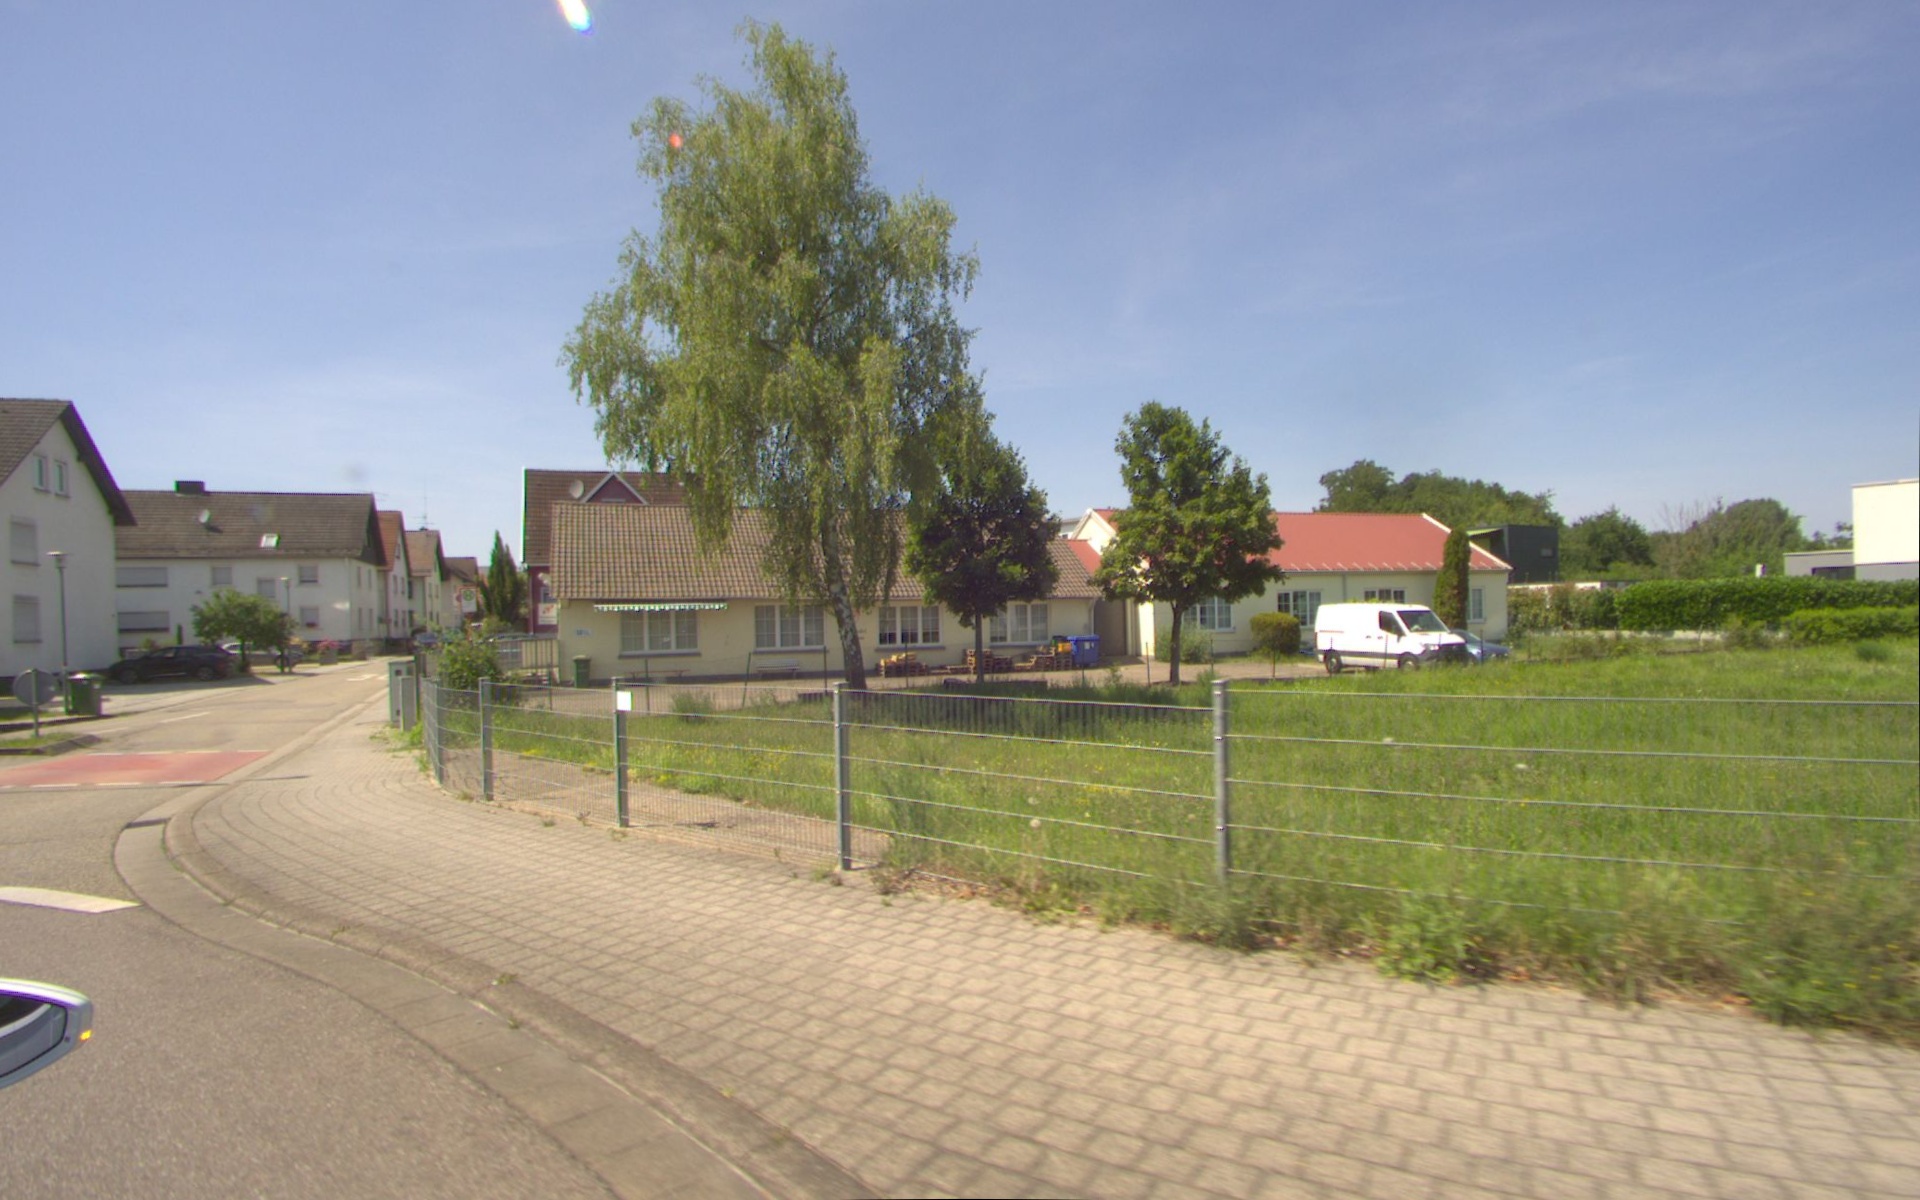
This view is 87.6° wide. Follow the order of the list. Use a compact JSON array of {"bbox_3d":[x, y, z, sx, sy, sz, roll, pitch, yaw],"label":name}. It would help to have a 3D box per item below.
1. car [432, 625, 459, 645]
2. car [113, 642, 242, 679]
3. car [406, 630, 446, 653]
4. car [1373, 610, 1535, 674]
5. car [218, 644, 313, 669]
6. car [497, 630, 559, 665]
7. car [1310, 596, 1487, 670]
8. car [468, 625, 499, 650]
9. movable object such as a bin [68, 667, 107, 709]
[{"bbox_3d":[-43.776,2.959,85.252,1.900,1.624,3.985,-1,-2,-26],"label":"car"},{"bbox_3d":[-32.824,2.521,42.124,3.935,1.401,1.655,-1,-1,-24],"label":"car"},{"bbox_3d":[-38.236,2.927,71.786,1.966,1.573,3.991,-1,-1,-20],"label":"car"},{"bbox_3d":[17.229,1.508,35.226,2.036,2.039,4.920,-1,-2,-24],"label":"car"},{"bbox_3d":[-37.474,3.028,54.151,3.935,1.206,1.835,0,-1,-24],"label":"car"},{"bbox_3d":[-21.159,2.325,49.162,2.706,1.618,1.169,-1,-2,-21],"label":"car"},{"bbox_3d":[14.361,1.131,33.179,2.180,2.229,5.169,-1,-3,-25],"label":"car"},{"bbox_3d":[-37.762,3.002,79.350,1.826,1.809,3.992,-1,-2,-21],"label":"car"},{"bbox_3d":[-23.538,2.365,27.029,0.635,1.097,0.458,-1,-1,-13],"label":"movable object such as a bin"}]
